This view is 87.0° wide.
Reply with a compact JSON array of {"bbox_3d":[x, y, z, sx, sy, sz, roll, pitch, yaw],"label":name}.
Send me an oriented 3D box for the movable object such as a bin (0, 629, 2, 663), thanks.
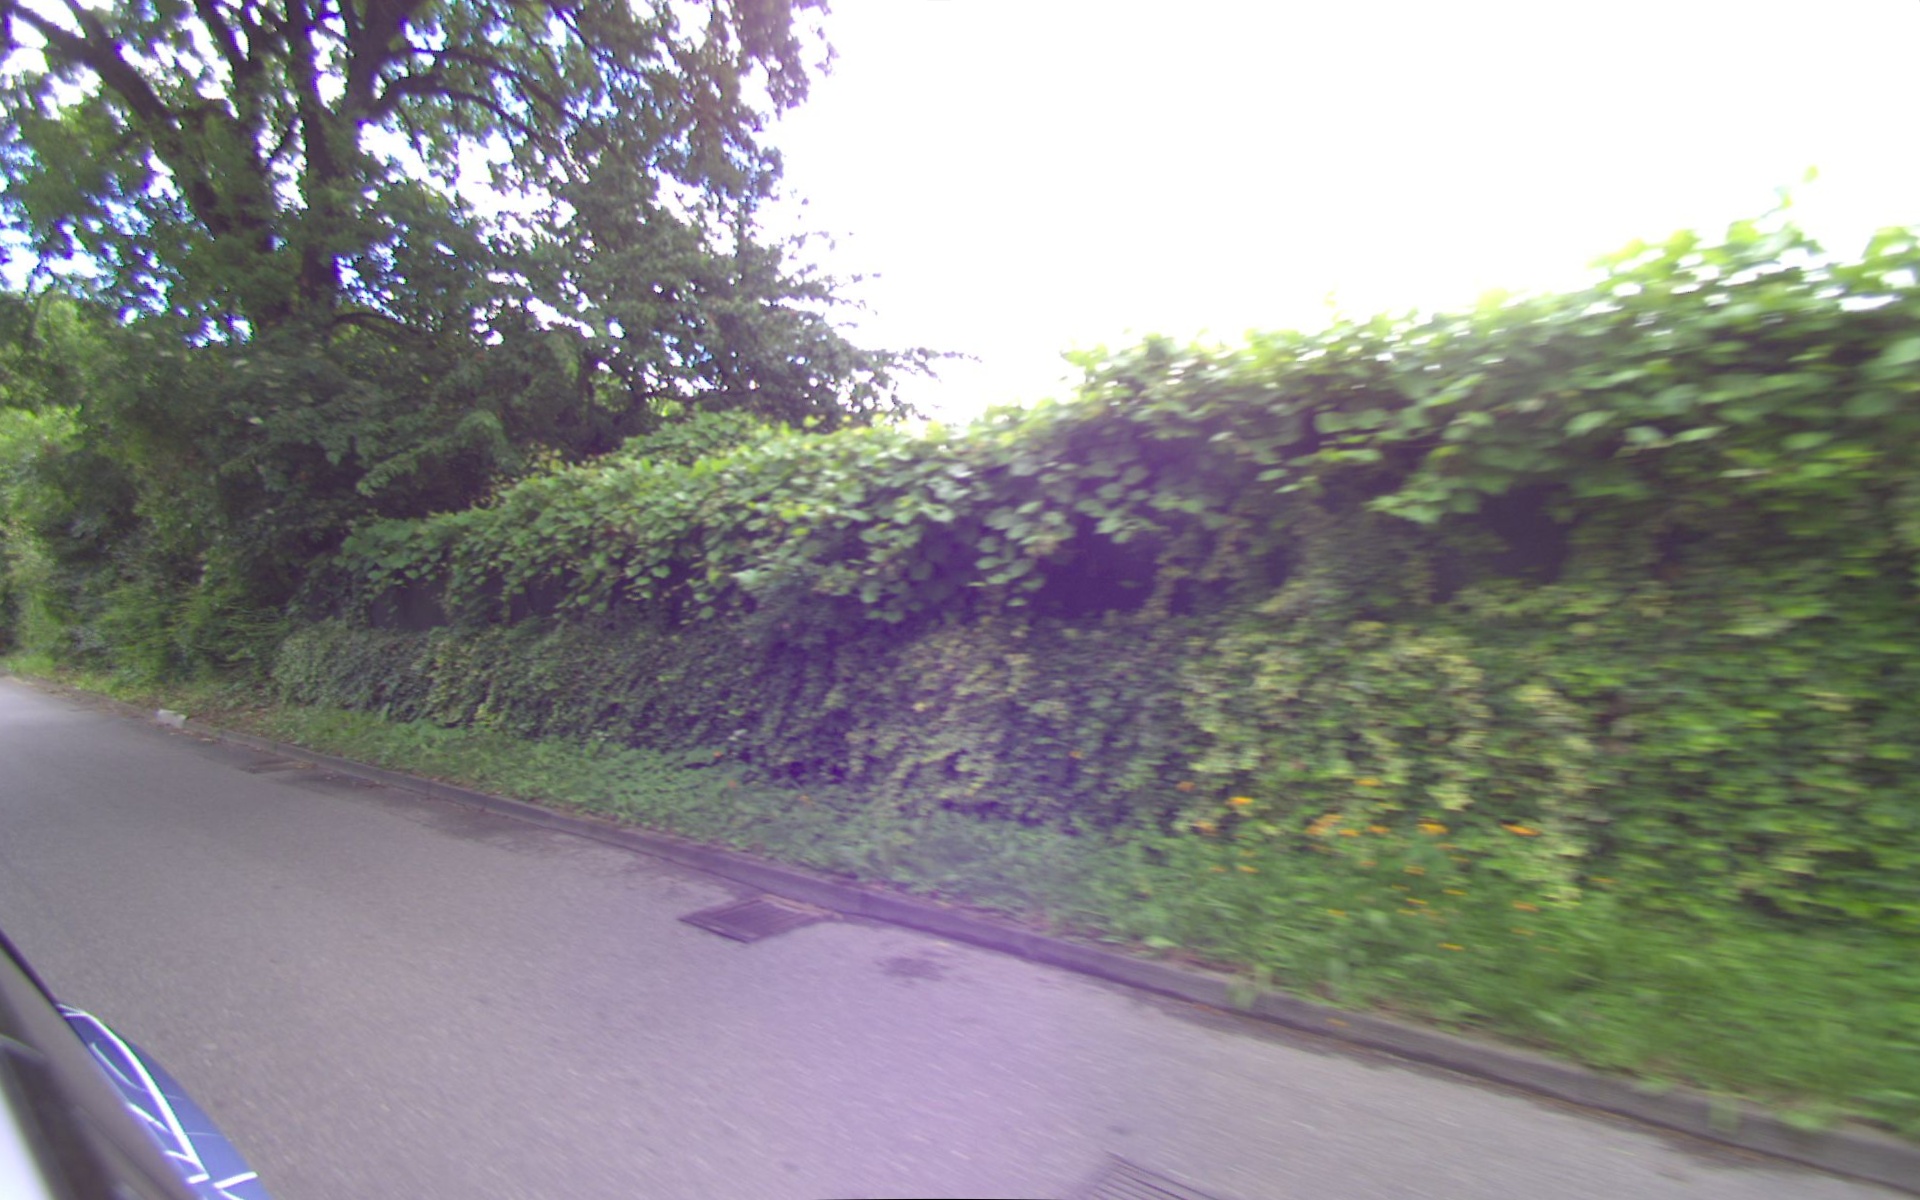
[{"bbox_3d":[-29.136,1.372,30.245,0.640,1.020,0.633,1,0,-34],"label":"movable object such as a bin"}]
